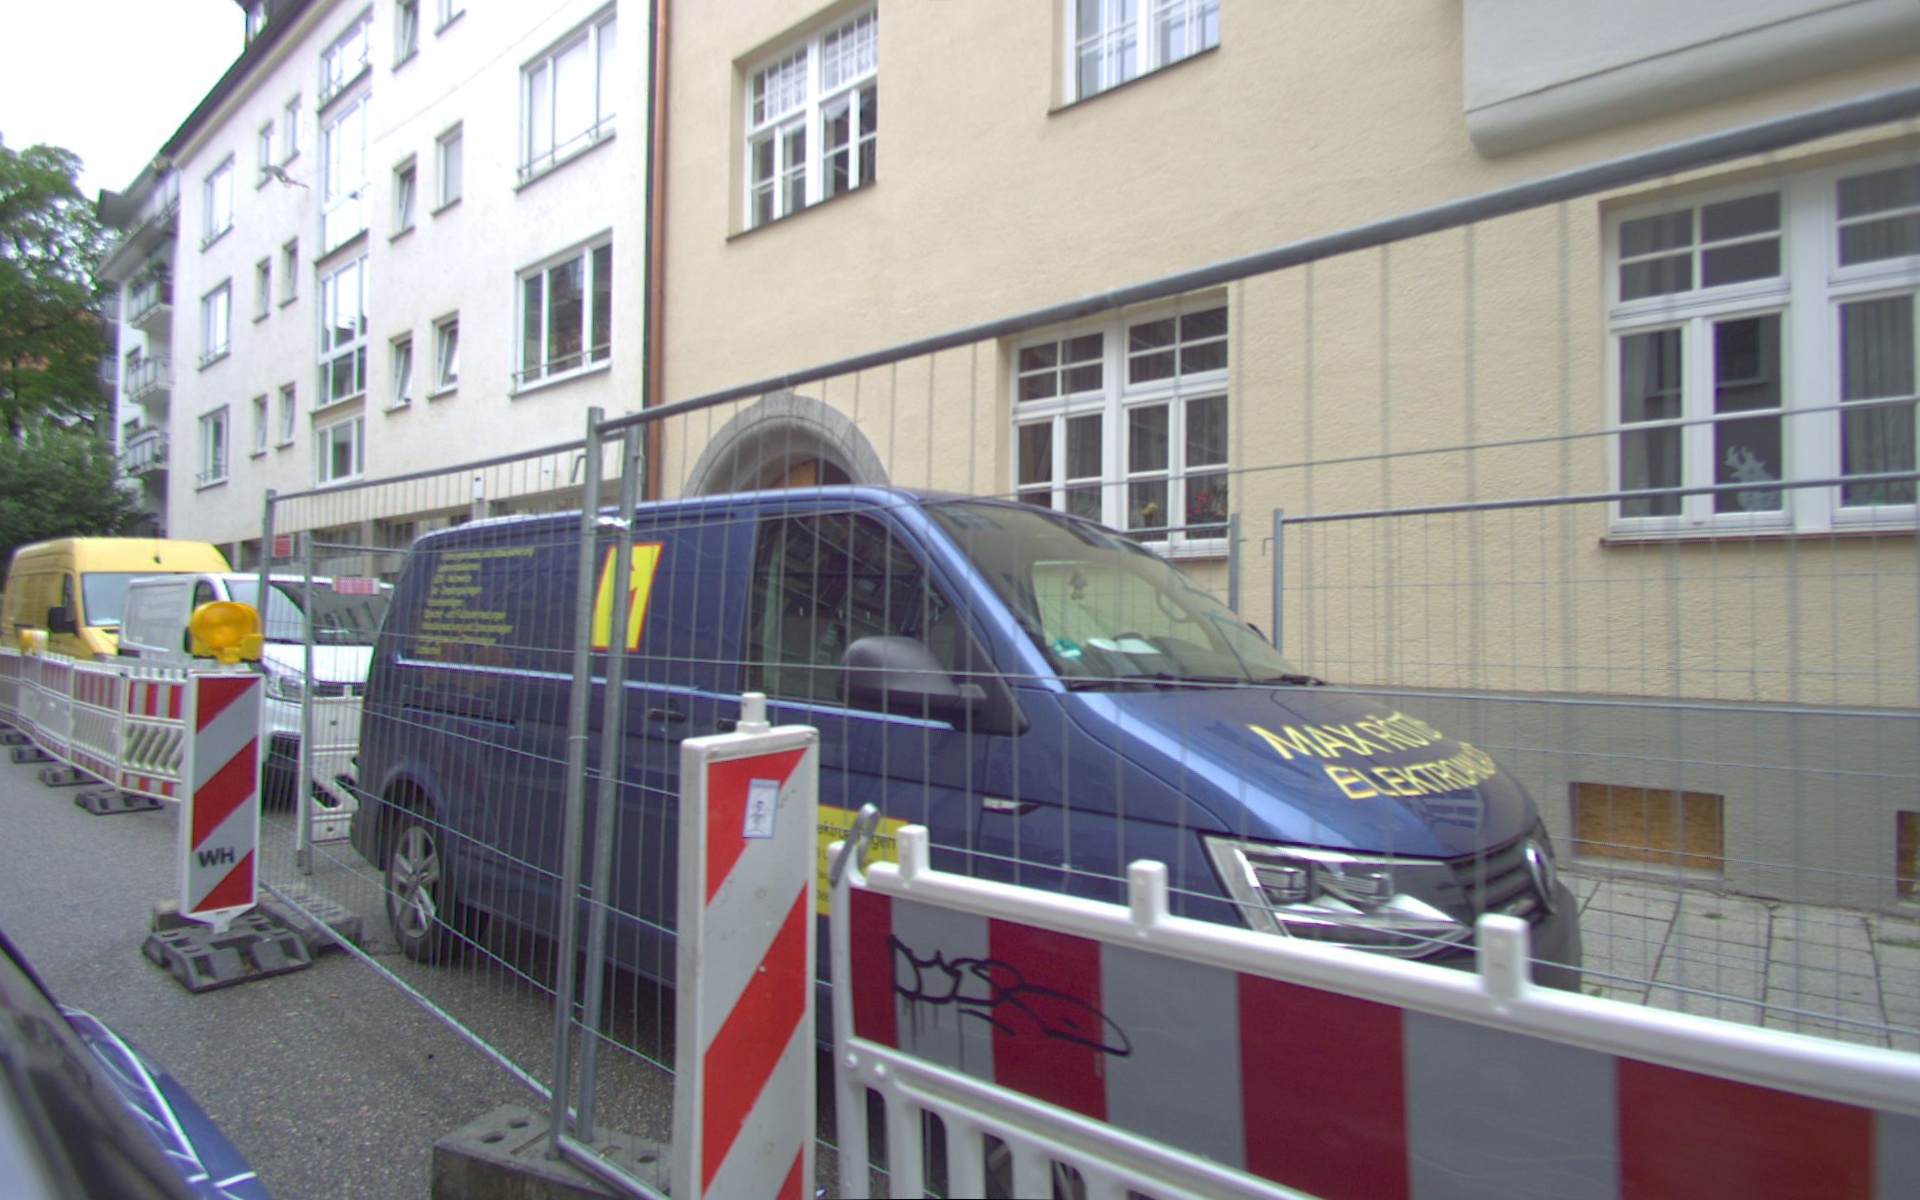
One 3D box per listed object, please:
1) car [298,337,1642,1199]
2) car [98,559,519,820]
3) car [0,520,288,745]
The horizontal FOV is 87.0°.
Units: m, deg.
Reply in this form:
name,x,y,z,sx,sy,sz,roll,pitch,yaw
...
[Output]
name,x,y,z,sx,sy,sz,roll,pitch,yaw
car,-0.673,0.603,4.050,5.504,1.912,1.709,-1,-4,40
car,-6.387,0.730,9.689,4.785,1.912,1.898,-1,-4,39
car,-12.037,0.451,14.582,6.730,2.598,1.974,-1,-3,40
